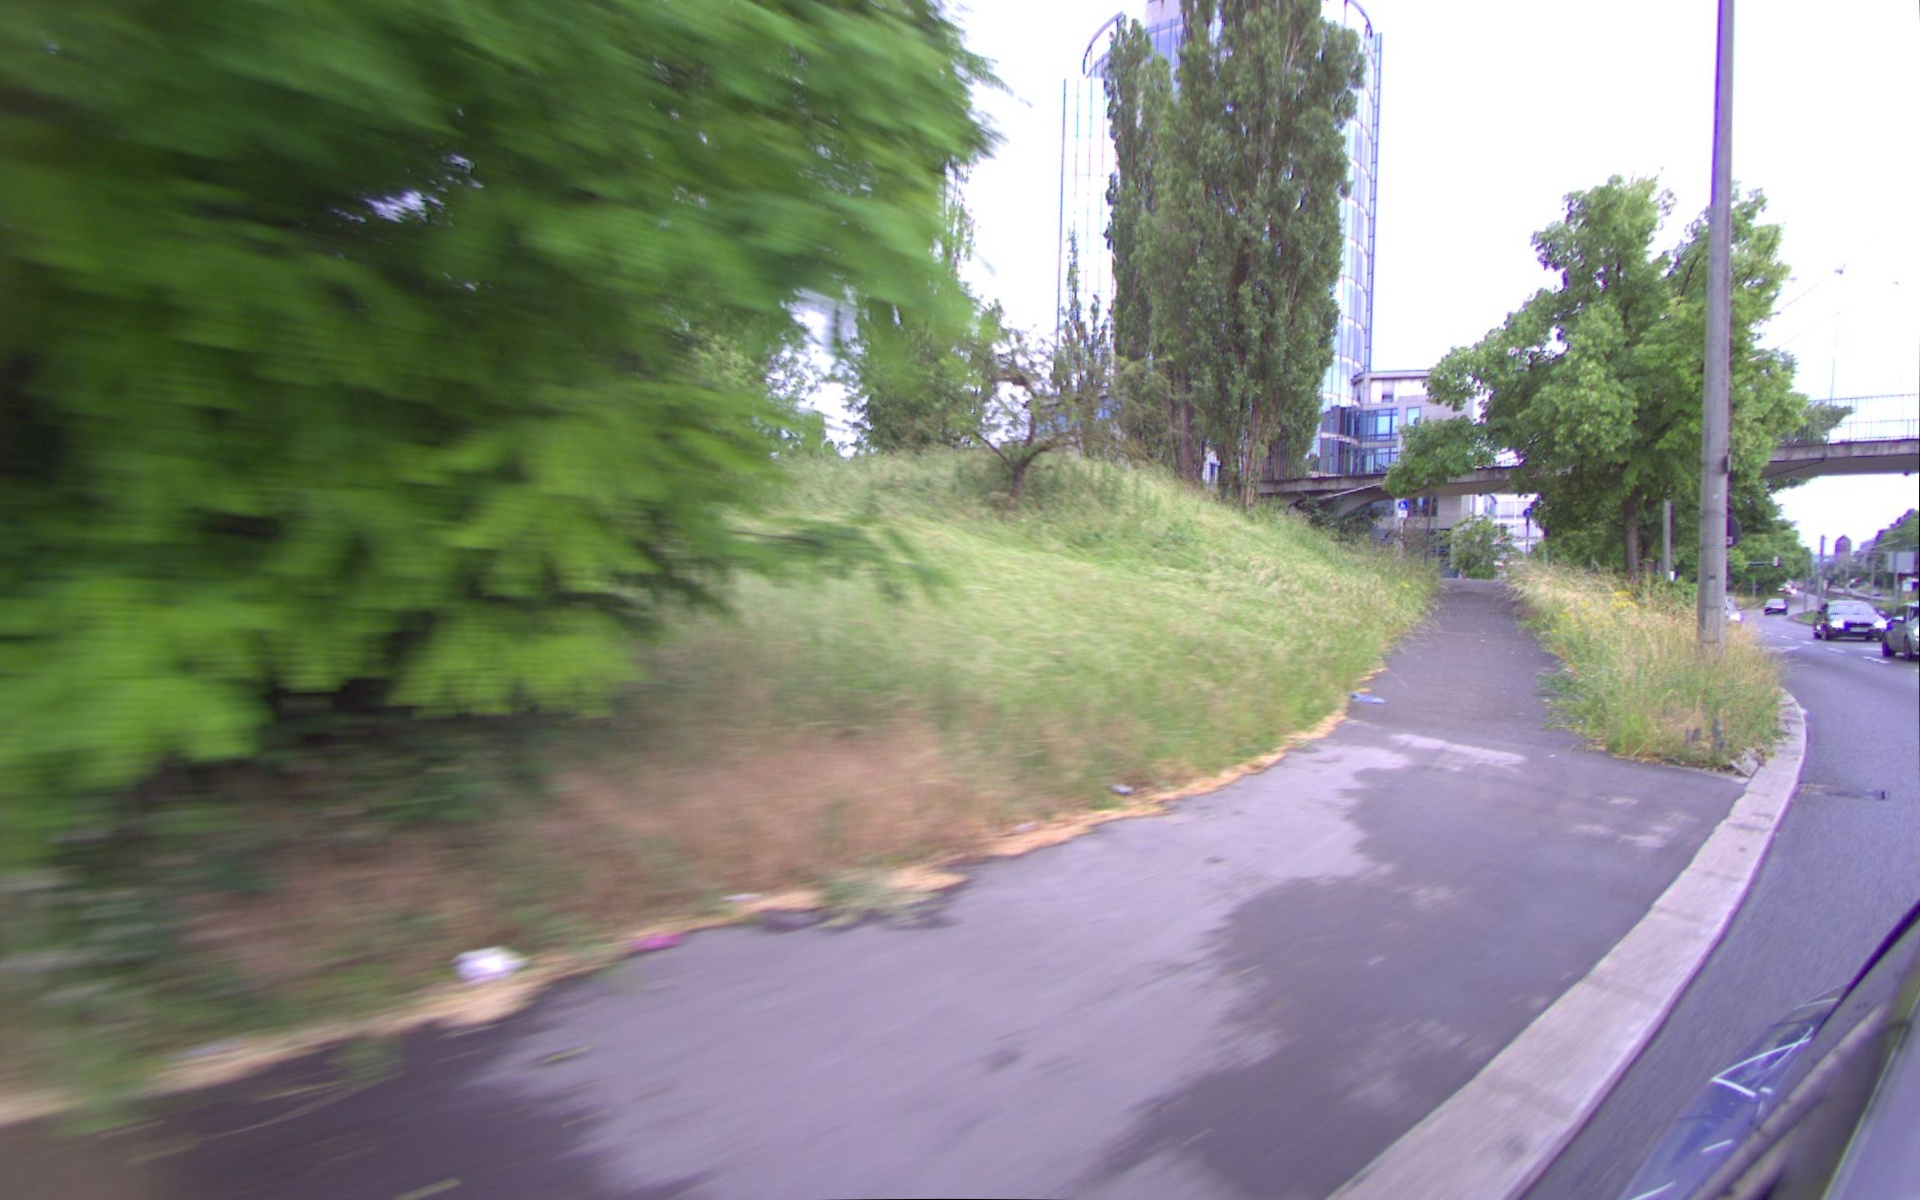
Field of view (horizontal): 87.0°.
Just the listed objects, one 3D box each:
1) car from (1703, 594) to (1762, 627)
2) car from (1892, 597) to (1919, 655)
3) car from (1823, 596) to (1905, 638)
[{"bbox_3d":[38.591,0.489,50.619,1.754,1.520,3.960,1,2,29],"label":"car"},{"bbox_3d":[24.608,0.619,25.000,1.862,1.373,4.006,0,0,36],"label":"car"},{"bbox_3d":[33.204,0.576,37.273,1.726,1.369,3.951,1,2,35],"label":"car"}]
